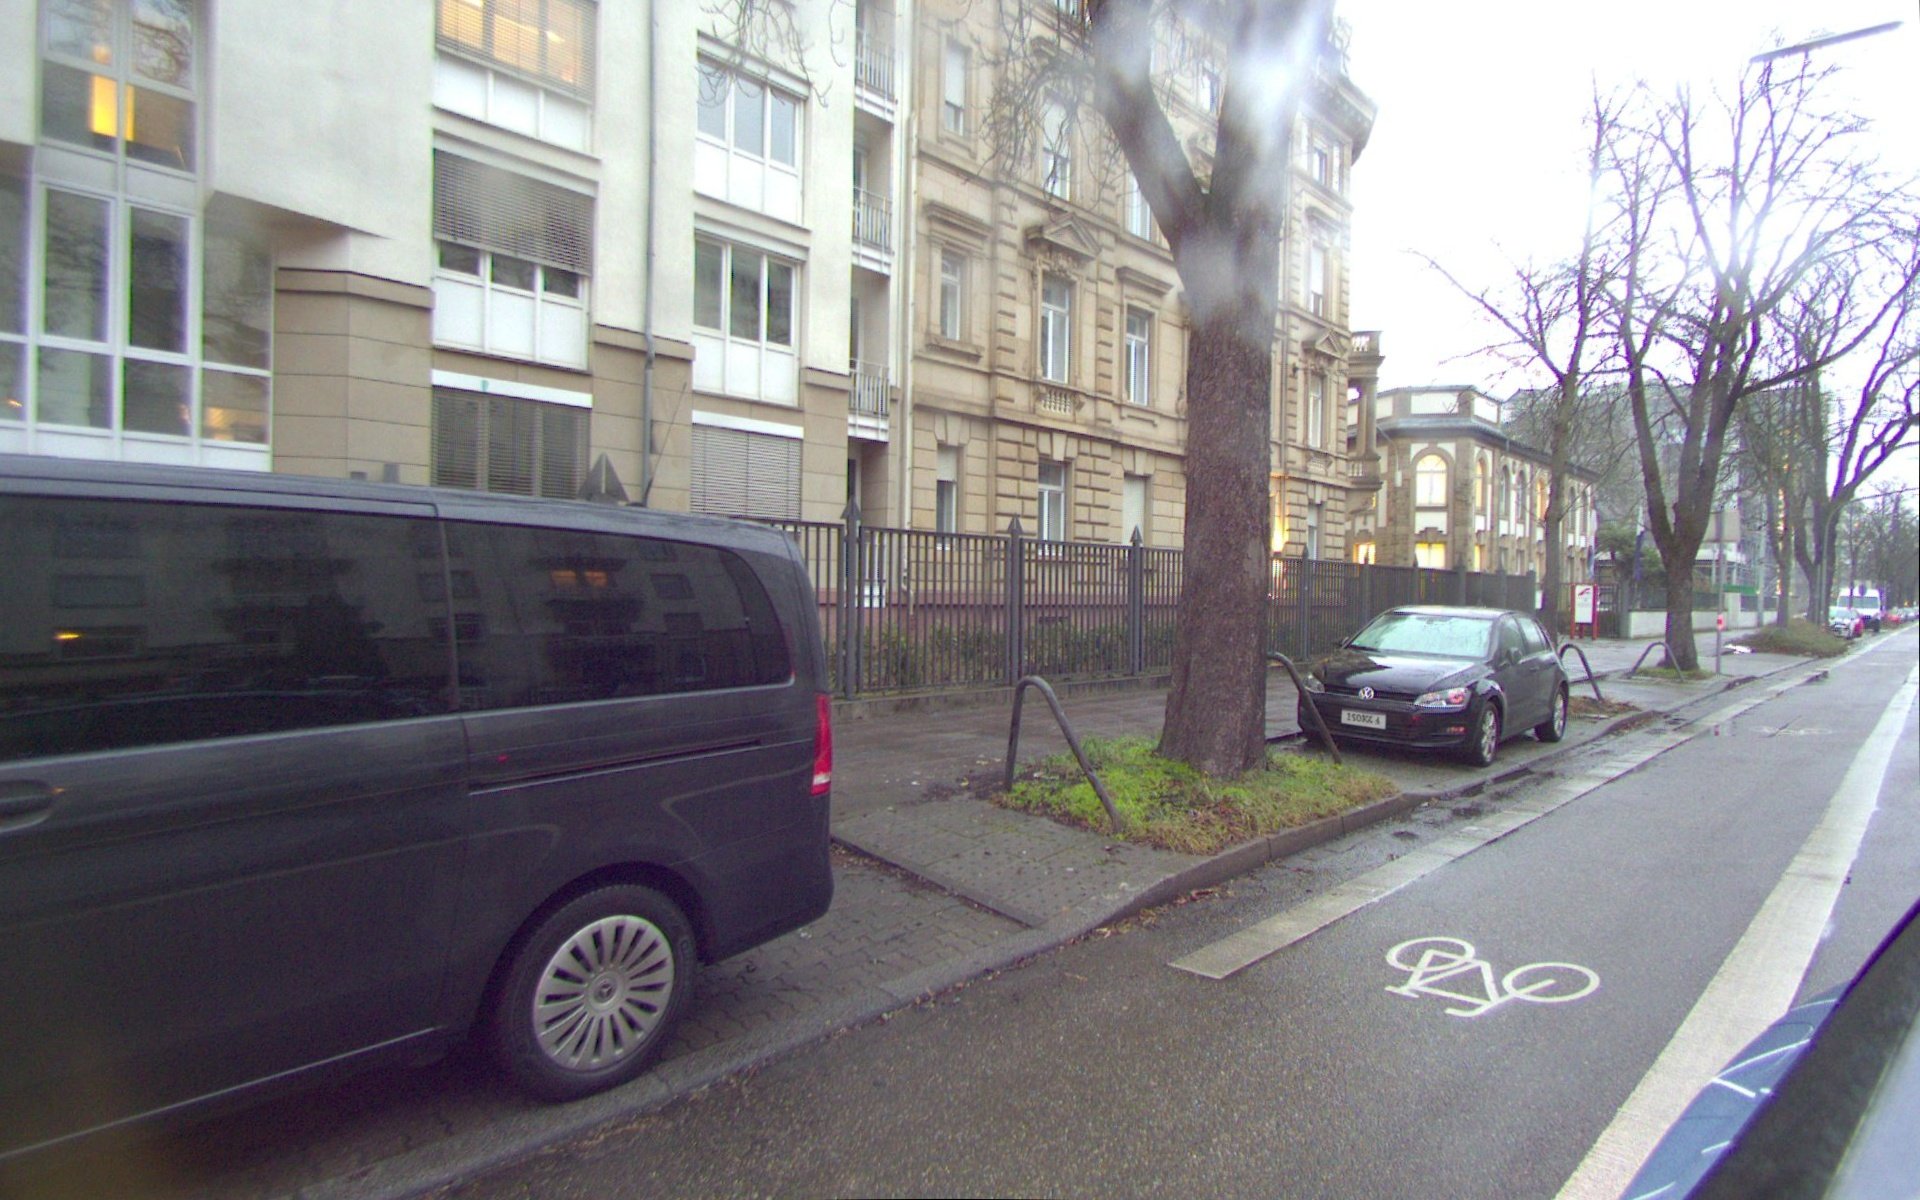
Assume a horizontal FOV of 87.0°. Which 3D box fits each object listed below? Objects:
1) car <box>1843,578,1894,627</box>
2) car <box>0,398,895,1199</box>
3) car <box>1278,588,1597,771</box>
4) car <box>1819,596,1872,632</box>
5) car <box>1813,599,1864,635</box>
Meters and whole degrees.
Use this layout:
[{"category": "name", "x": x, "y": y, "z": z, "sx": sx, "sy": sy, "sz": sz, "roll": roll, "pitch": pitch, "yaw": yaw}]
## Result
[{"category": "car", "x": 52.163, "y": 0.096, "z": 58.134, "sx": 2.086, "sy": 2.670, "sz": 5.367, "roll": 0, "pitch": 1, "yaw": 42}, {"category": "car", "x": -2.696, "y": 0.507, "z": 2.746, "sx": 4.882, "sy": 1.899, "sz": 2.032, "roll": 0, "pitch": 2, "yaw": -45}, {"category": "car", "x": 5.136, "y": 0.680, "z": 10.599, "sx": 1.758, "sy": 1.463, "sz": 4.091, "roll": 4, "pitch": 2, "yaw": 44}, {"category": "car", "x": 45.016, "y": 0.666, "z": 51.439, "sx": 1.992, "sy": 1.703, "sz": 3.939, "roll": 0, "pitch": 1, "yaw": 42}, {"category": "car", "x": 38.353, "y": 0.702, "z": 44.165, "sx": 1.623, "sy": 1.425, "sz": 3.939, "roll": 0, "pitch": 1, "yaw": 42}]
